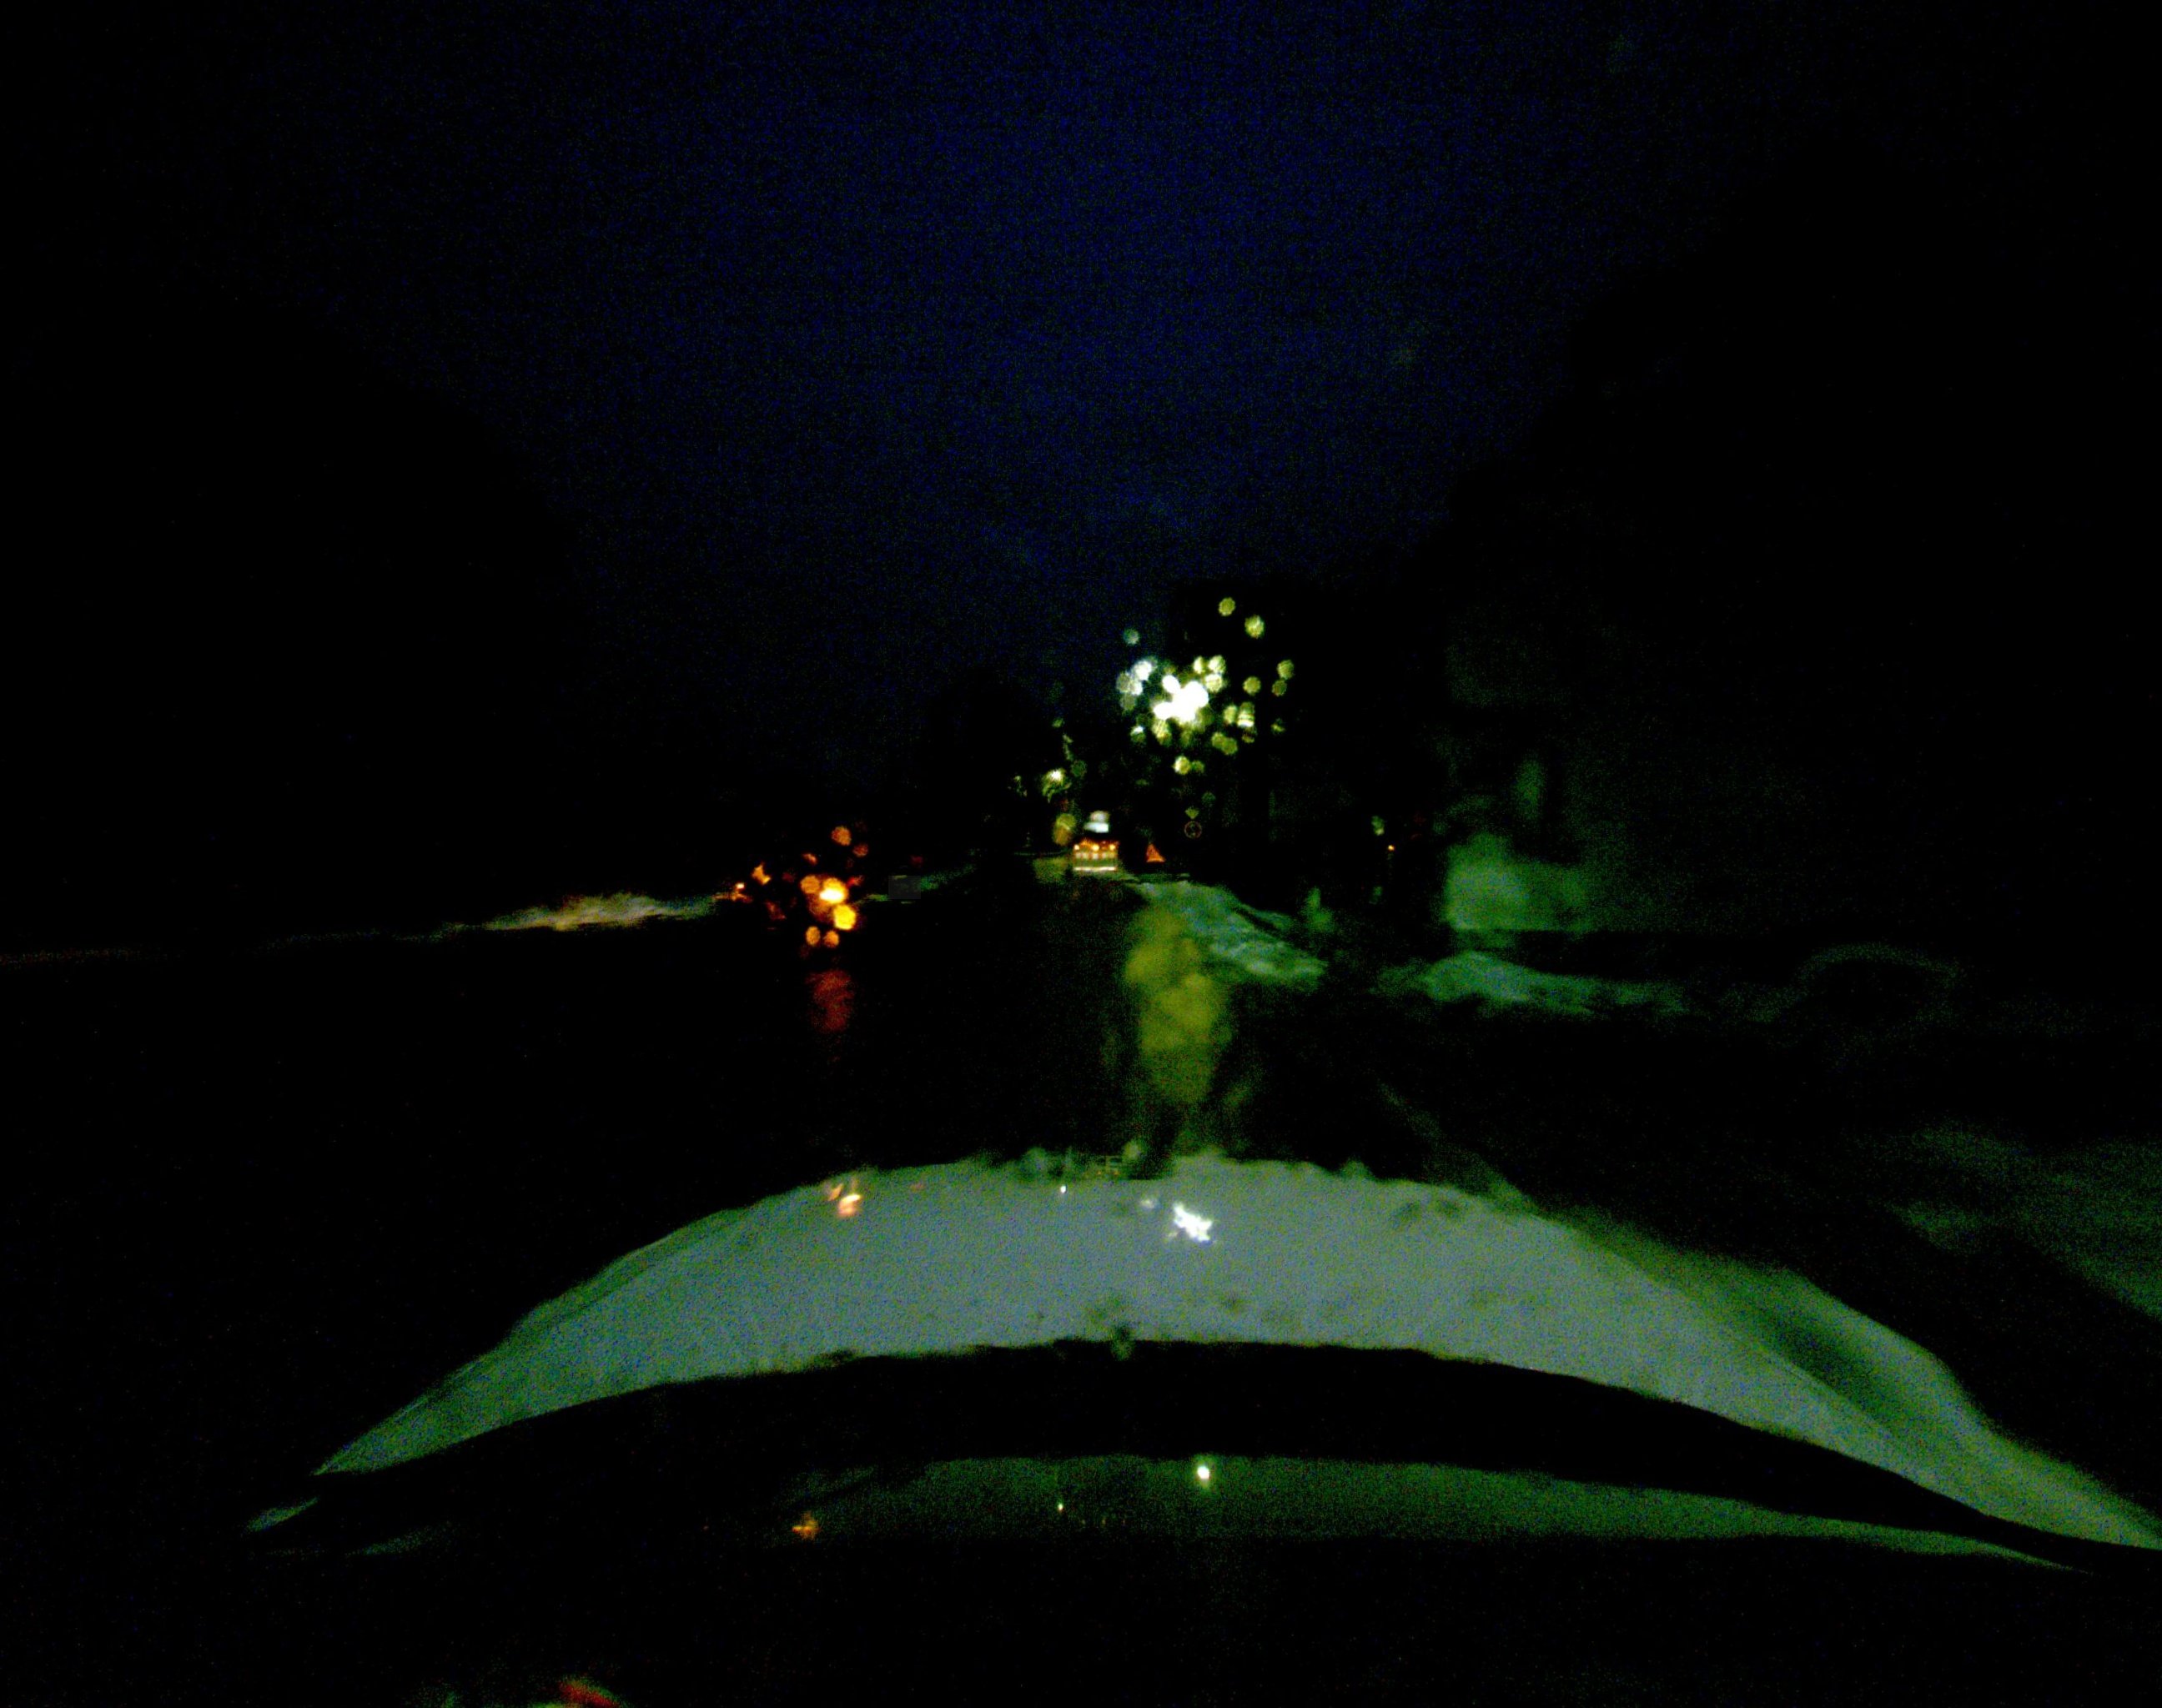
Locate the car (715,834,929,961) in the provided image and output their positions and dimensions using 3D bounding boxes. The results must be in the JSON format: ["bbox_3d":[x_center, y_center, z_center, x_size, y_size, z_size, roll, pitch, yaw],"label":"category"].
[{"bbox_3d":[-4.346,0.657,13.440,3.532,1.797,1.839,-2,-1,42],"label":"car"}]
